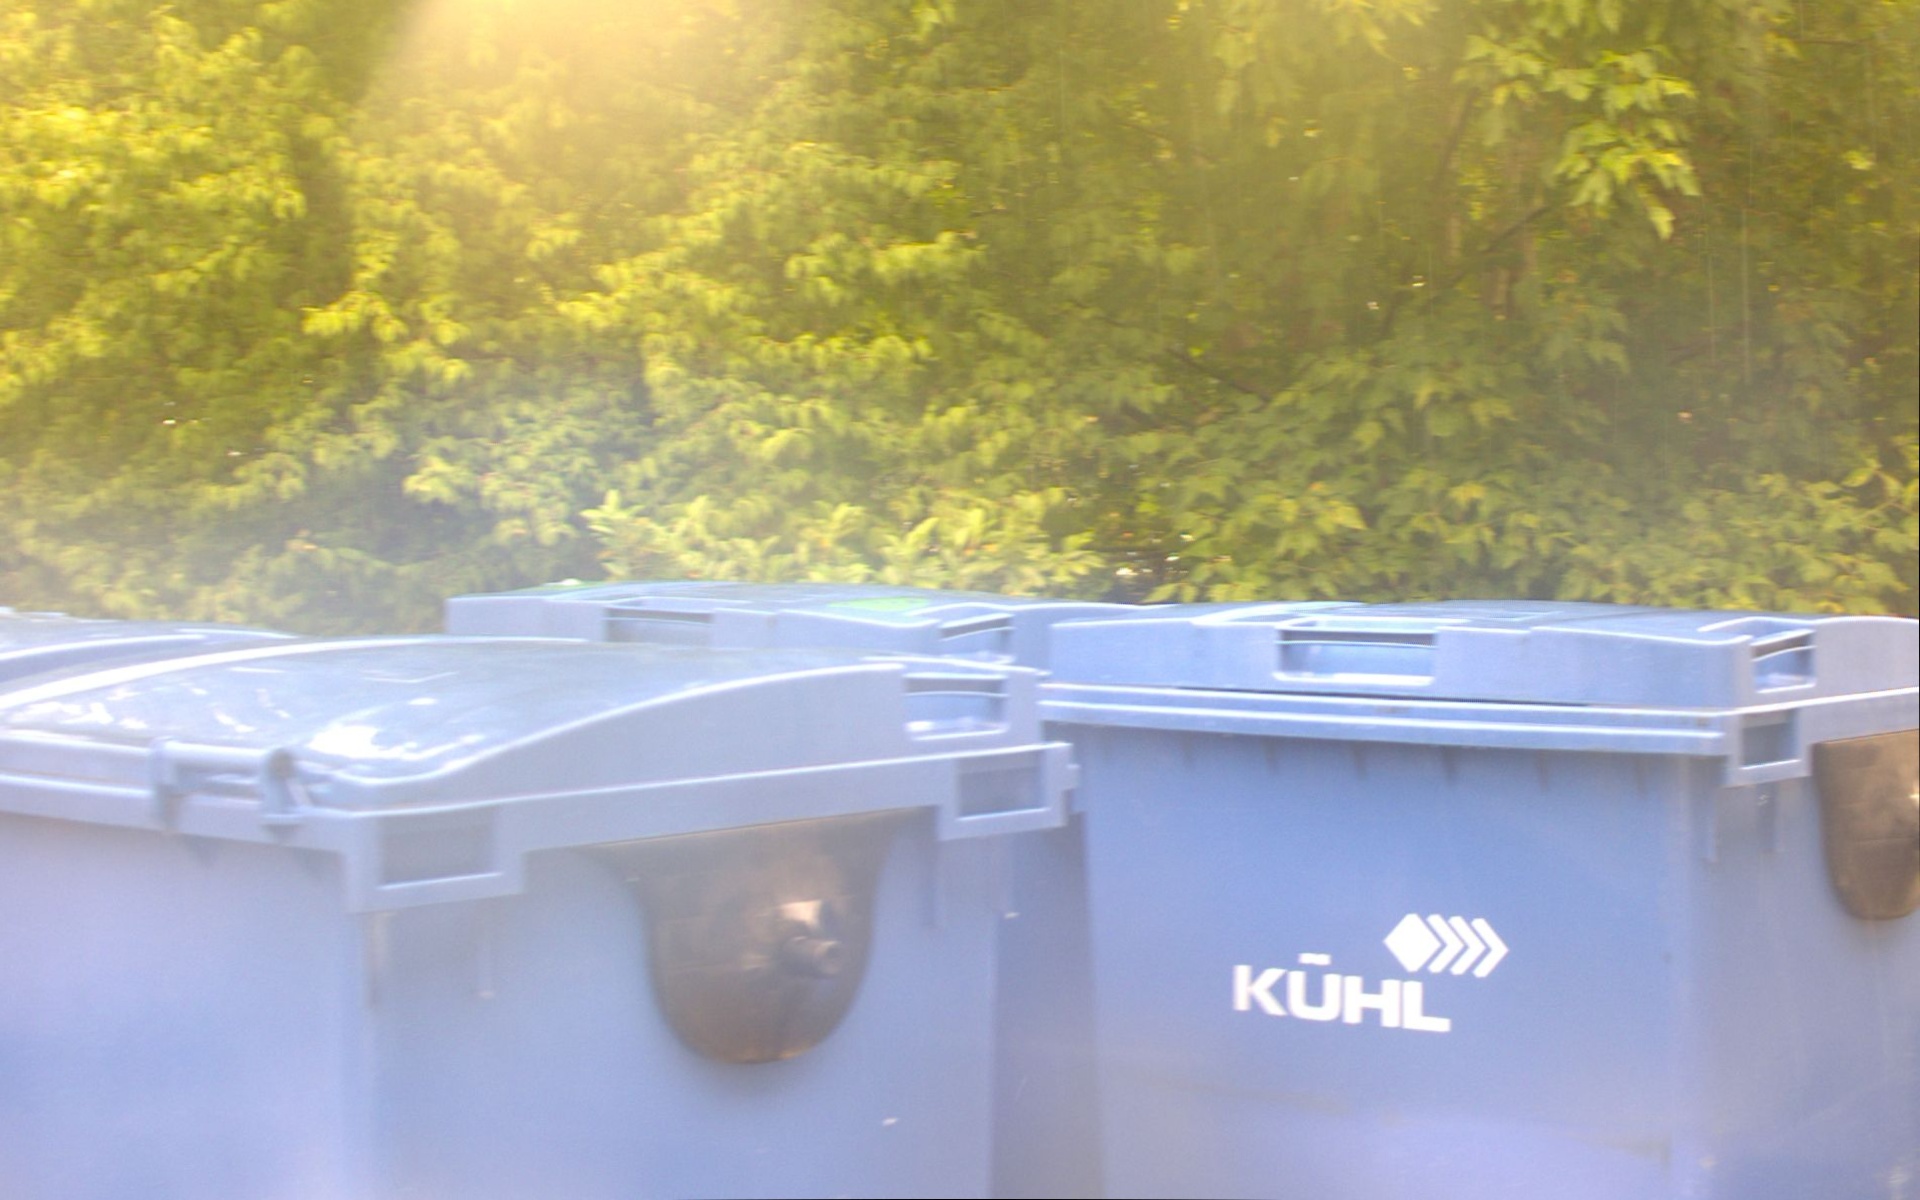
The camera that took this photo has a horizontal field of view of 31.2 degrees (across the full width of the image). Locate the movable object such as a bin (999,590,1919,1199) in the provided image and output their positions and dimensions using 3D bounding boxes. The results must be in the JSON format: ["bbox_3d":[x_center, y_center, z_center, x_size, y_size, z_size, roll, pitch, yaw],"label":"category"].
[{"bbox_3d":[0.855,0.675,4.984,1.224,1.332,1.004,1,3,44],"label":"movable object such as a bin"}]

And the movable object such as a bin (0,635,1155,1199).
[{"bbox_3d":[-0.595,0.735,3.973,1.114,1.332,1.206,-2,2,-42],"label":"movable object such as a bin"}]

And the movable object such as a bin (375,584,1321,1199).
[{"bbox_3d":[-0.191,0.666,5.812,1.224,1.332,1.004,1,3,44],"label":"movable object such as a bin"}]

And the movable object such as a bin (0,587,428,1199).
[{"bbox_3d":[-1.574,0.696,4.867,1.206,1.332,1.114,3,5,44],"label":"movable object such as a bin"}]
